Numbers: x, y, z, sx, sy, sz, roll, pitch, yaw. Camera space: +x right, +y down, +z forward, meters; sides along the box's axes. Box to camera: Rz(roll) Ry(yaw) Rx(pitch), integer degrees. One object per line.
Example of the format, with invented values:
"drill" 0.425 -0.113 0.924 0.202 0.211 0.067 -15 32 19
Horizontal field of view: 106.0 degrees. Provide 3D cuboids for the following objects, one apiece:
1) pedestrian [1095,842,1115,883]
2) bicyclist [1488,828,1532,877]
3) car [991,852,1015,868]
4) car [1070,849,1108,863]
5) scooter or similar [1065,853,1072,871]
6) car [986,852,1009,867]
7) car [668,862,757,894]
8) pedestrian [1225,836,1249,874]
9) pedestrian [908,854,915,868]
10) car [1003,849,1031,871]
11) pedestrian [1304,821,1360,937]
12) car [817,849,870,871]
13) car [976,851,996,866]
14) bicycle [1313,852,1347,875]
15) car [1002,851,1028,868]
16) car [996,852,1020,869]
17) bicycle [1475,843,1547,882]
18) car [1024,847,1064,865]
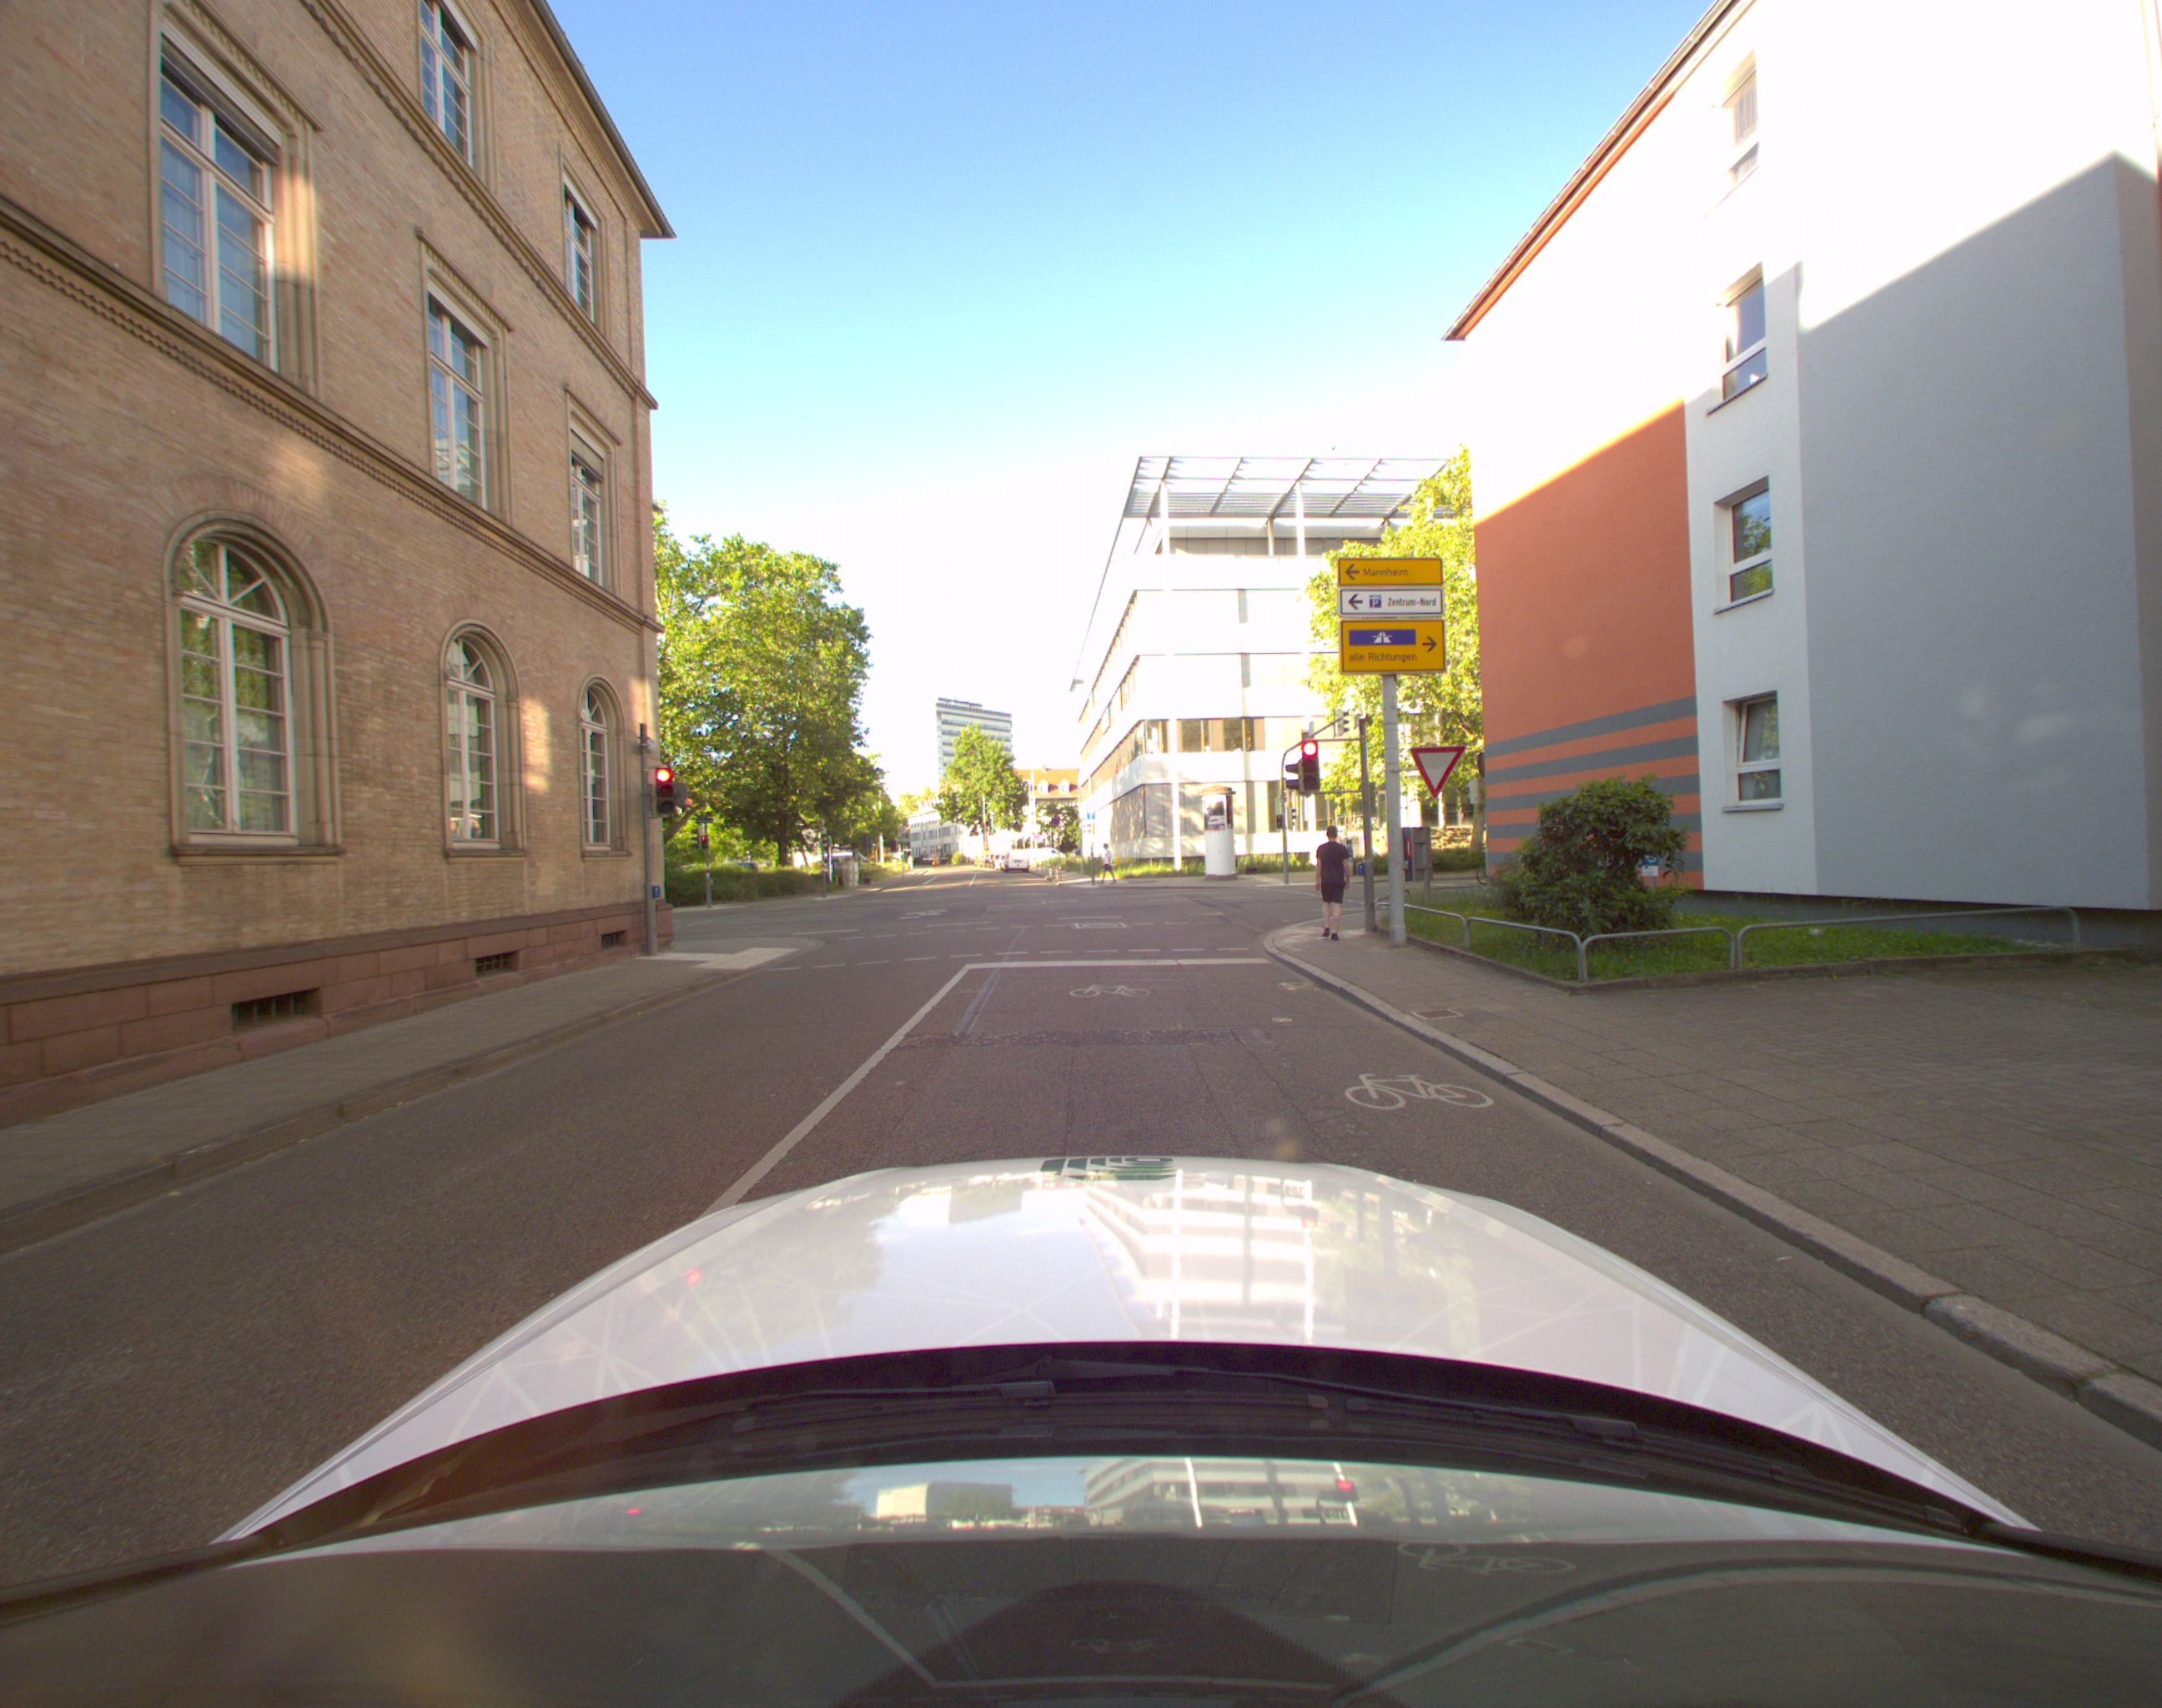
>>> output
"pedestrian" 1.136 0.402 37.934 0.911 1.869 0.742 0 -1 1
"bicyclist" 13.771 -0.038 26.165 1.069 1.527 0.593 -2 0 7
"car" -7.845 0.583 81.633 1.994 1.499 4.270 0 -1 -11
"car" 1.020 0.251 104.962 4.644 1.725 1.990 0 -1 -15
"scooter or similar" -0.915 0.581 58.482 0.436 1.256 1.418 -2 0 -2
"car" -8.887 0.589 86.386 1.994 1.499 4.635 0 -1 -10
"car" -17.085 1.096 37.908 3.407 1.457 1.646 0 -1 -8
"pedestrian" 7.432 0.059 38.831 0.913 1.815 0.760 0 -1 -6
"pedestrian" -18.461 0.774 88.669 0.700 1.587 0.633 0 -1 -14
"car" -5.174 0.468 65.124 1.992 1.725 4.640 0 -1 -7
"pedestrian" 4.030 0.398 13.120 0.696 1.810 0.720 0 -1 4
"car" -22.027 0.529 75.774 4.441 2.014 1.995 0 -1 -8
"car" -11.303 0.535 96.310 1.995 1.725 4.633 0 -1 -11
"bicycle" 11.004 0.426 36.033 0.381 1.008 1.416 -2 0 -40
"car" -5.850 0.478 71.359 1.993 1.499 4.638 0 -1 -8
"car" -6.922 0.607 77.159 1.993 1.499 4.638 0 -1 -8
"bicycle" 13.789 0.277 26.156 1.953 1.152 0.593 -2 0 7
"car" -4.686 0.269 103.256 4.802 2.159 1.989 0 -1 -16
